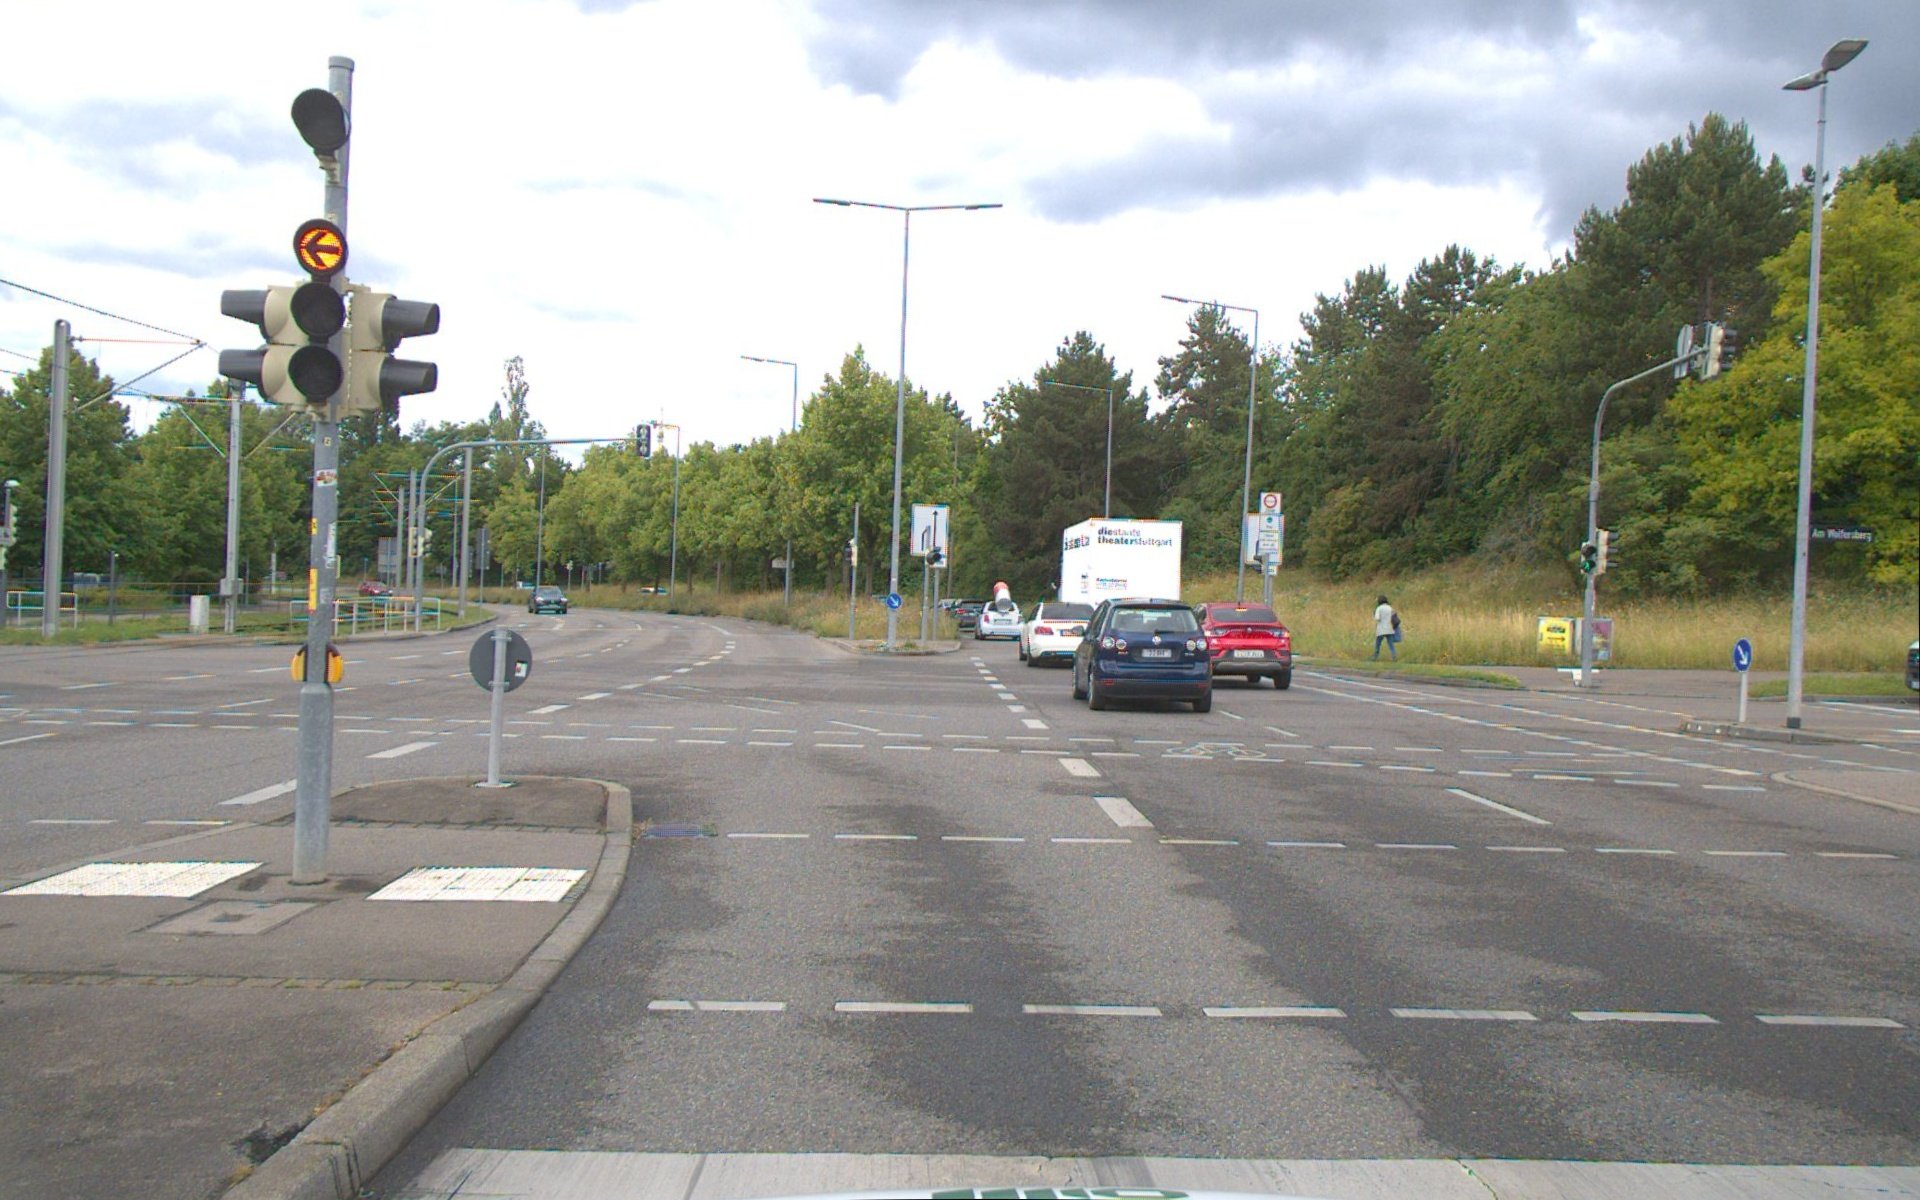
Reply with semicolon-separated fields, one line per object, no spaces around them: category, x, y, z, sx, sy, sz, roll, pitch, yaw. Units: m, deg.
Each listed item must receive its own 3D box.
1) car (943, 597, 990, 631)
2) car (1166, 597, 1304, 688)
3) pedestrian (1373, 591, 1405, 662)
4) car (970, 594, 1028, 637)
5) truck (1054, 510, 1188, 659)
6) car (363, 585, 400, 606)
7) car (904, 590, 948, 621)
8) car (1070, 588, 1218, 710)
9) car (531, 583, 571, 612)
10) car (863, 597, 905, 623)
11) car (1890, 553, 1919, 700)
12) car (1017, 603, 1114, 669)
car;0.279;0.639;76.841;1.594;1.519;3.830;1;0;-9
car;5.139;0.751;31.478;1.809;1.556;4.376;1;0;-1
pedestrian;10.420;0.637;40.185;0.630;1.691;0.714;1;-1;6
car;1.455;0.571;62.424;1.786;1.532;3.490;1;0;-5
truck;4.631;-0.476;49.669;2.746;3.971;10.179;1;1;-1
car;-49.686;-0.387;141.918;1.858;1.823;3.946;1;-1;-37
car;-1.756;0.287;84.963;1.556;1.519;3.431;1;0;-14
car;2.639;0.679;24.502;1.631;1.626;3.995;1;0;-1
car;-23.792;-0.153;96.108;1.769;1.615;3.975;1;0;-21
car;-4.568;0.586;99.215;1.717;1.534;4.032;1;0;-15
car;20.327;0.537;30.069;5.685;2.676;2.000;1;-1;1
car;2.426;0.803;38.818;1.764;1.436;4.314;1;0;-3
